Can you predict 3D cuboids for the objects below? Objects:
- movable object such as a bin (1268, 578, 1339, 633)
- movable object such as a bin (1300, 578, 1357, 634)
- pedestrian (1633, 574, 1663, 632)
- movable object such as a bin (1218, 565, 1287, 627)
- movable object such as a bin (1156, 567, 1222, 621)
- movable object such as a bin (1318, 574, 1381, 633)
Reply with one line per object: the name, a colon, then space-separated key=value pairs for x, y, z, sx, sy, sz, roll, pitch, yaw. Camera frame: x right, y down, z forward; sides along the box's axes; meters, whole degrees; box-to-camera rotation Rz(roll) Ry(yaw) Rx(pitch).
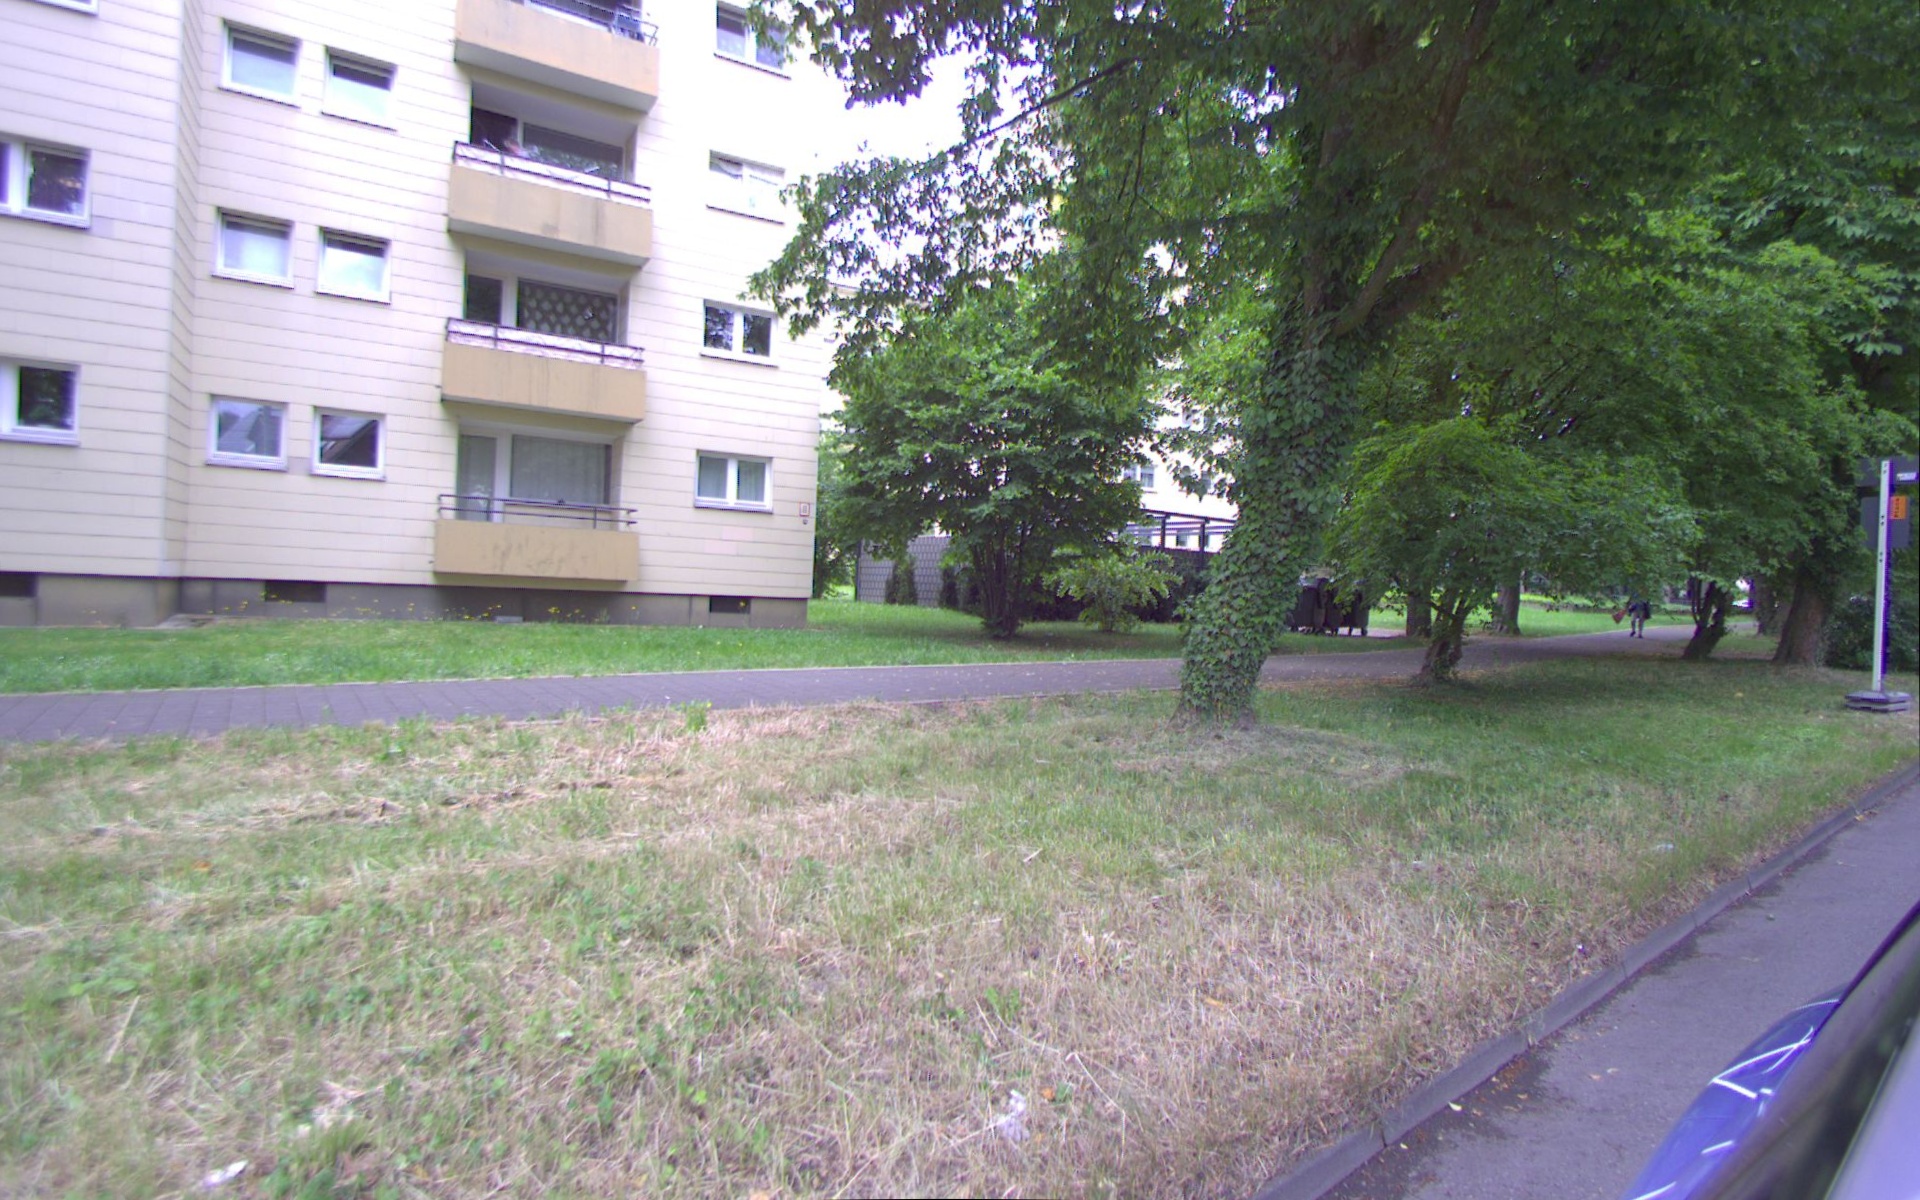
movable object such as a bin: x=8.339 y=0.116 z=24.538 sx=1.190 sy=1.235 sz=1.329 roll=3 pitch=2 yaw=41
movable object such as a bin: x=9.223 y=0.133 z=25.316 sx=1.022 sy=1.320 sz=0.946 roll=3 pitch=2 yaw=41
pedestrian: x=21.535 y=0.085 z=31.688 sx=0.560 sy=1.761 sz=0.565 roll=1 pitch=3 yaw=-42
movable object such as a bin: x=7.345 y=-0.105 z=25.404 sx=1.190 sy=1.474 sz=1.329 roll=3 pitch=2 yaw=41
movable object such as a bin: x=6.077 y=-0.171 z=26.871 sx=1.190 sy=1.358 sz=1.329 roll=3 pitch=2 yaw=41
movable object such as a bin: x=10.021 y=0.070 z=26.037 sx=1.190 sy=1.431 sz=1.095 roll=3 pitch=2 yaw=41
